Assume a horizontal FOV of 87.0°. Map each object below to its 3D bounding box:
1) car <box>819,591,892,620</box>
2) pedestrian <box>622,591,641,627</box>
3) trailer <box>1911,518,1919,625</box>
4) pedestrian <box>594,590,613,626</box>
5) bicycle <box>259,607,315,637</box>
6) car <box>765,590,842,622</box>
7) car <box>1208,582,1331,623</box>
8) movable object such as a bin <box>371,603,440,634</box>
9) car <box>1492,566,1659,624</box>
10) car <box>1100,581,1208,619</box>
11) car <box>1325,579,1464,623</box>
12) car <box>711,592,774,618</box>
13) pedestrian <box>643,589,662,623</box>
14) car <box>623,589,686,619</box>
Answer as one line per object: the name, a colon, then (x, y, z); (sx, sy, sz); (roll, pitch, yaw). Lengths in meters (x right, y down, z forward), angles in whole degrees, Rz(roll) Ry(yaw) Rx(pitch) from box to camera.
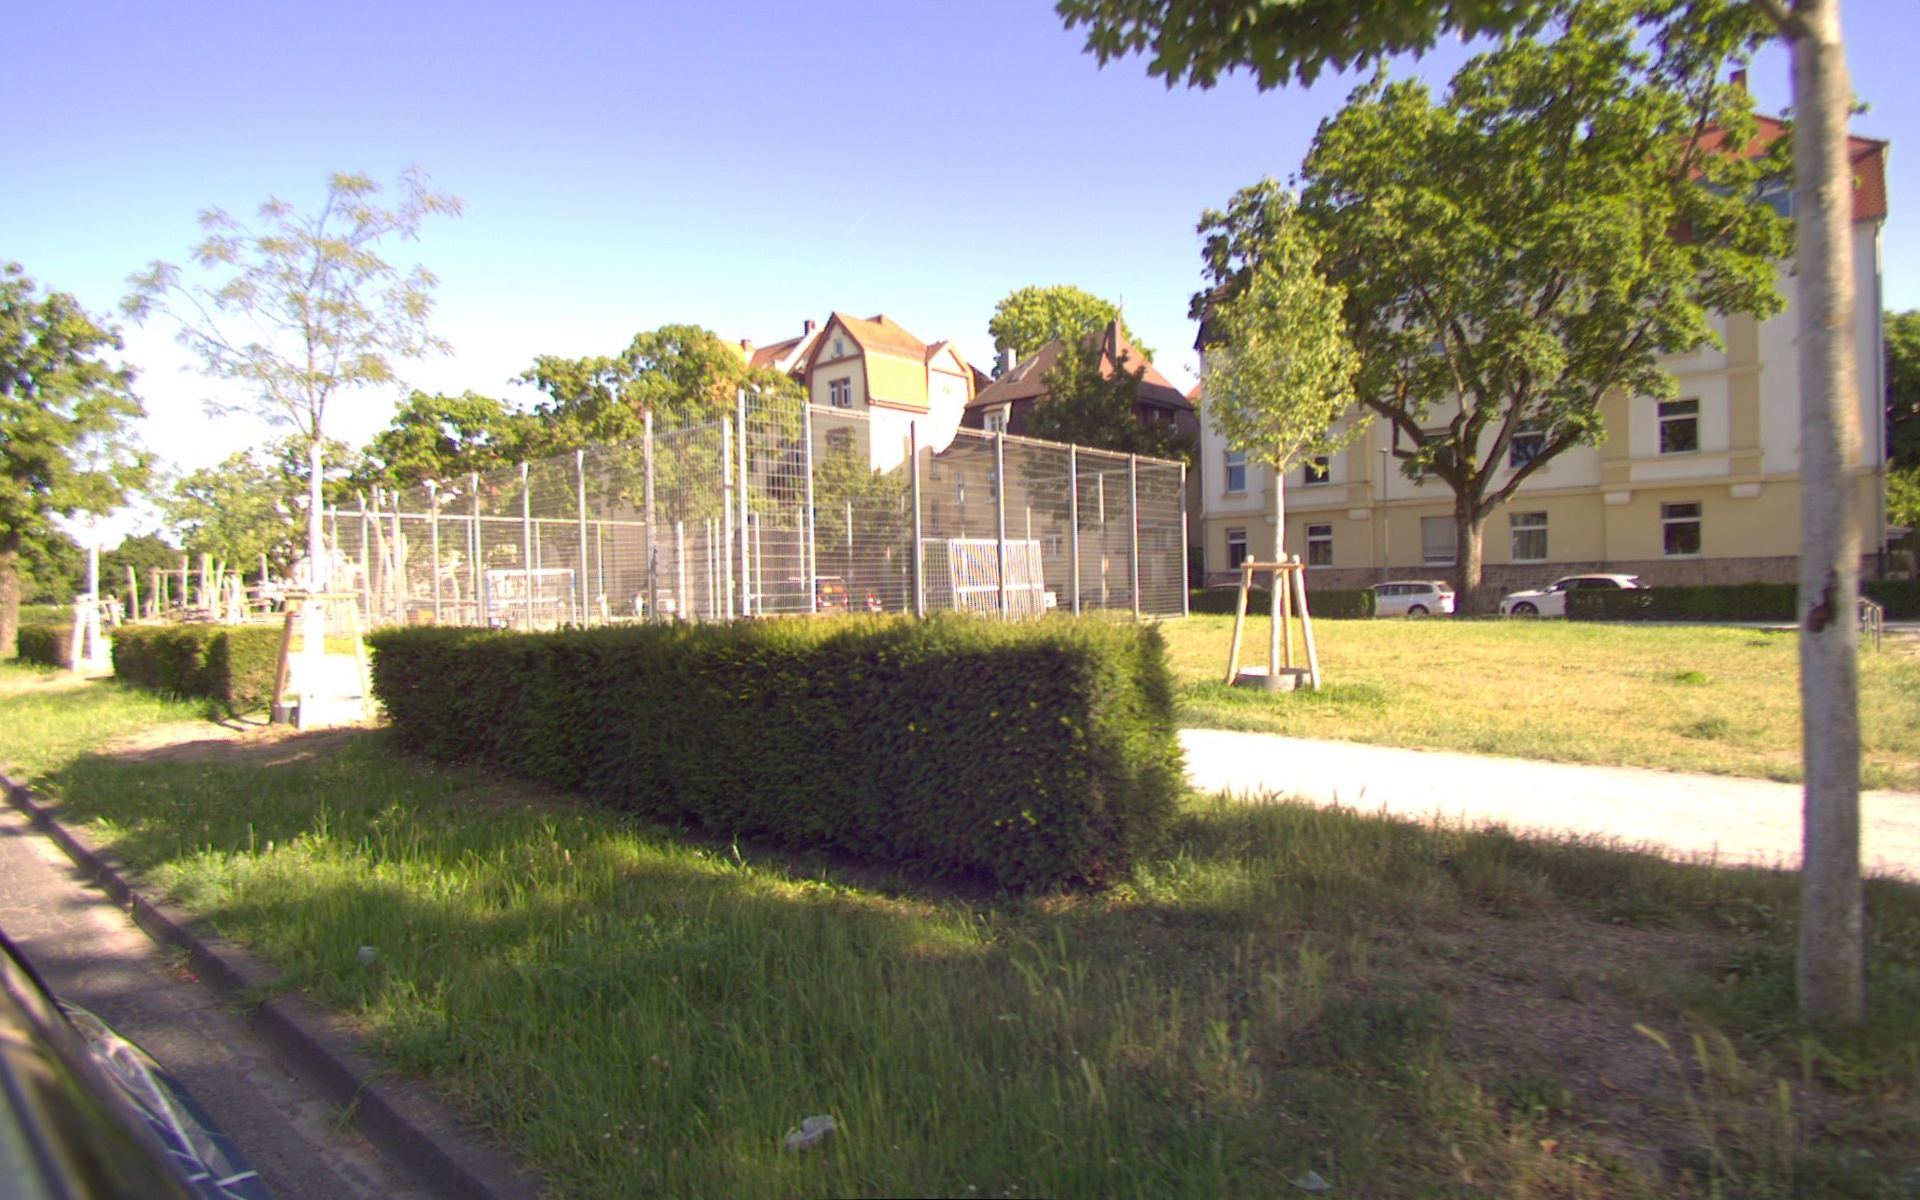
car: (-5.851, 0.314, 56.204); (3.998, 1.521, 1.776); (-1, 1, 41)
pedestrian: (-12.637, 0.342, 38.899); (0.639, 1.328, 0.652); (-2, 0, -20)
trailer: (28.888, -0.855, 26.385); (5.798, 2.892, 2.319); (-1, 1, 40)
pedestrian: (-13.563, 0.303, 38.457); (0.639, 1.328, 0.652); (-2, 0, -20)
bicycle: (-26.762, 0.870, 40.258); (0.499, 1.116, 1.777); (-2, 0, 39)
car: (-8.184, 0.320, 52.759); (3.998, 1.521, 1.776); (-1, 1, 41)
car: (12.296, 0.104, 40.361); (4.345, 1.521, 1.776); (-1, 1, 41)
movable object such as a bin: (-23.128, 0.769, 42.277); (1.054, 1.251, 2.309); (-2, -1, 37)
car: (20.268, -0.144, 33.435); (4.486, 1.790, 1.776); (-1, 1, 41)
car: (8.276, 0.021, 43.347); (4.229, 1.521, 1.776); (-1, 1, 41)
car: (15.954, 0.047, 37.296); (4.345, 1.521, 1.776); (-1, 1, 41)
car: (-13.445, 0.315, 62.534); (3.998, 1.521, 1.776); (-1, 1, 41)
pedestrian: (-12.270, 0.244, 40.341); (0.639, 1.328, 0.652); (-2, 0, -20)
car: (-20.996, 0.285, 69.469); (4.833, 1.997, 1.776); (-1, 1, 41)
